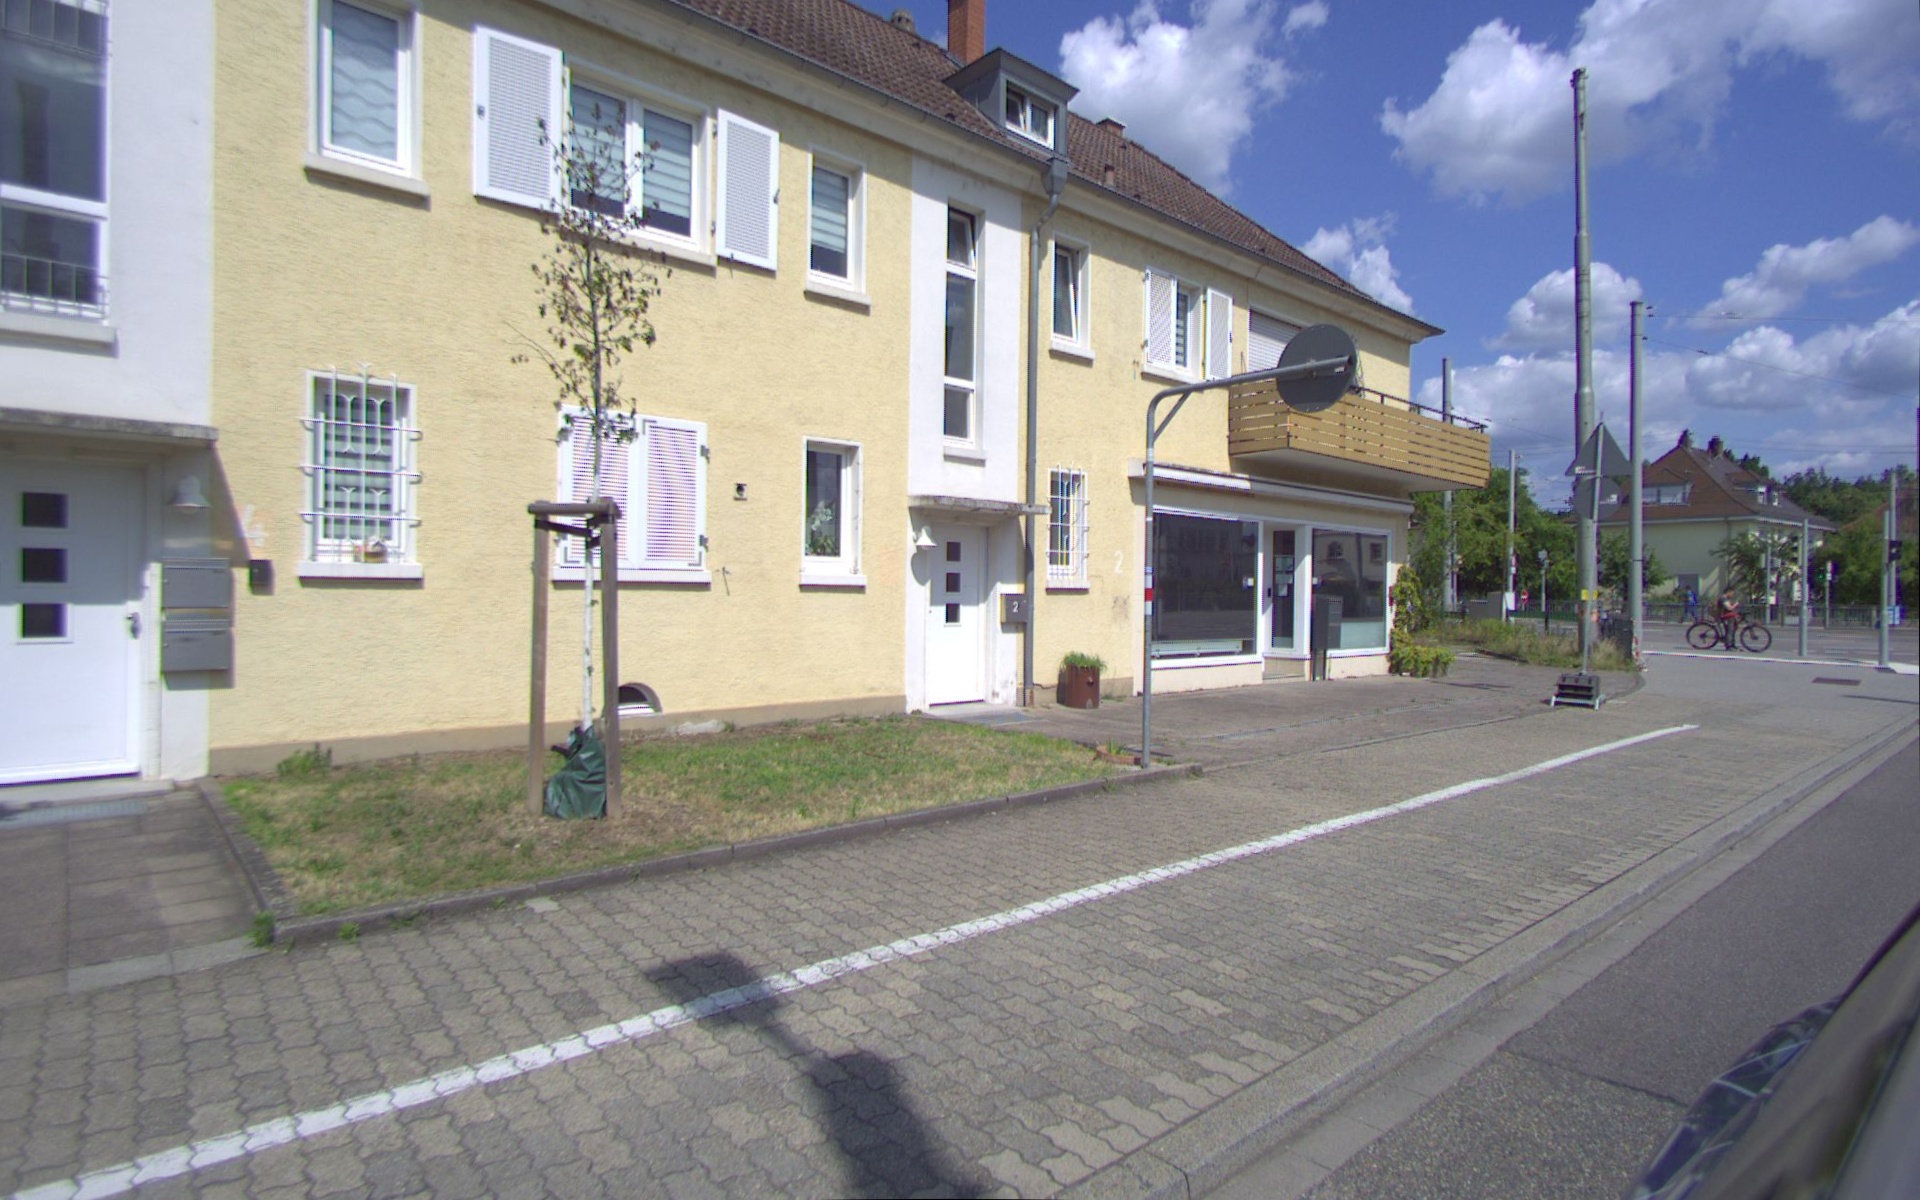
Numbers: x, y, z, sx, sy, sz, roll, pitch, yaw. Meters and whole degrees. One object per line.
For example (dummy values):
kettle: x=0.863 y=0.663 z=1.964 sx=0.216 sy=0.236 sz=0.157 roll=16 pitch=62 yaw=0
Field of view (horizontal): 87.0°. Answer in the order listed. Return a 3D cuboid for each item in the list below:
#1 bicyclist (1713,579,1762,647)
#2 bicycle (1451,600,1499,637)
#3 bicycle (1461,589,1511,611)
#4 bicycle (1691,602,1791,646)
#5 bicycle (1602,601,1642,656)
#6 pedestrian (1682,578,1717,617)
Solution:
bicyclist: x=20.932 y=0.329 z=27.259 sx=0.952 sy=1.797 sz=0.712 roll=1 pitch=0 yaw=30
bicycle: x=16.364 y=0.567 z=32.195 sx=0.690 sy=1.119 sz=1.806 roll=1 pitch=1 yaw=4
bicycle: x=33.857 y=0.015 z=65.176 sx=0.612 sy=1.351 sz=2.797 roll=1 pitch=0 yaw=-42
bicycle: x=20.965 y=0.628 z=27.227 sx=2.016 sy=1.115 sz=0.708 roll=1 pitch=1 yaw=29
bicycle: x=14.600 y=0.596 z=22.363 sx=0.590 sy=1.110 sz=2.253 roll=1 pitch=1 yaw=29
pedestrian: x=33.849 y=-0.126 z=46.334 sx=1.022 sy=1.757 sz=1.032 roll=1 pitch=0 yaw=-38
